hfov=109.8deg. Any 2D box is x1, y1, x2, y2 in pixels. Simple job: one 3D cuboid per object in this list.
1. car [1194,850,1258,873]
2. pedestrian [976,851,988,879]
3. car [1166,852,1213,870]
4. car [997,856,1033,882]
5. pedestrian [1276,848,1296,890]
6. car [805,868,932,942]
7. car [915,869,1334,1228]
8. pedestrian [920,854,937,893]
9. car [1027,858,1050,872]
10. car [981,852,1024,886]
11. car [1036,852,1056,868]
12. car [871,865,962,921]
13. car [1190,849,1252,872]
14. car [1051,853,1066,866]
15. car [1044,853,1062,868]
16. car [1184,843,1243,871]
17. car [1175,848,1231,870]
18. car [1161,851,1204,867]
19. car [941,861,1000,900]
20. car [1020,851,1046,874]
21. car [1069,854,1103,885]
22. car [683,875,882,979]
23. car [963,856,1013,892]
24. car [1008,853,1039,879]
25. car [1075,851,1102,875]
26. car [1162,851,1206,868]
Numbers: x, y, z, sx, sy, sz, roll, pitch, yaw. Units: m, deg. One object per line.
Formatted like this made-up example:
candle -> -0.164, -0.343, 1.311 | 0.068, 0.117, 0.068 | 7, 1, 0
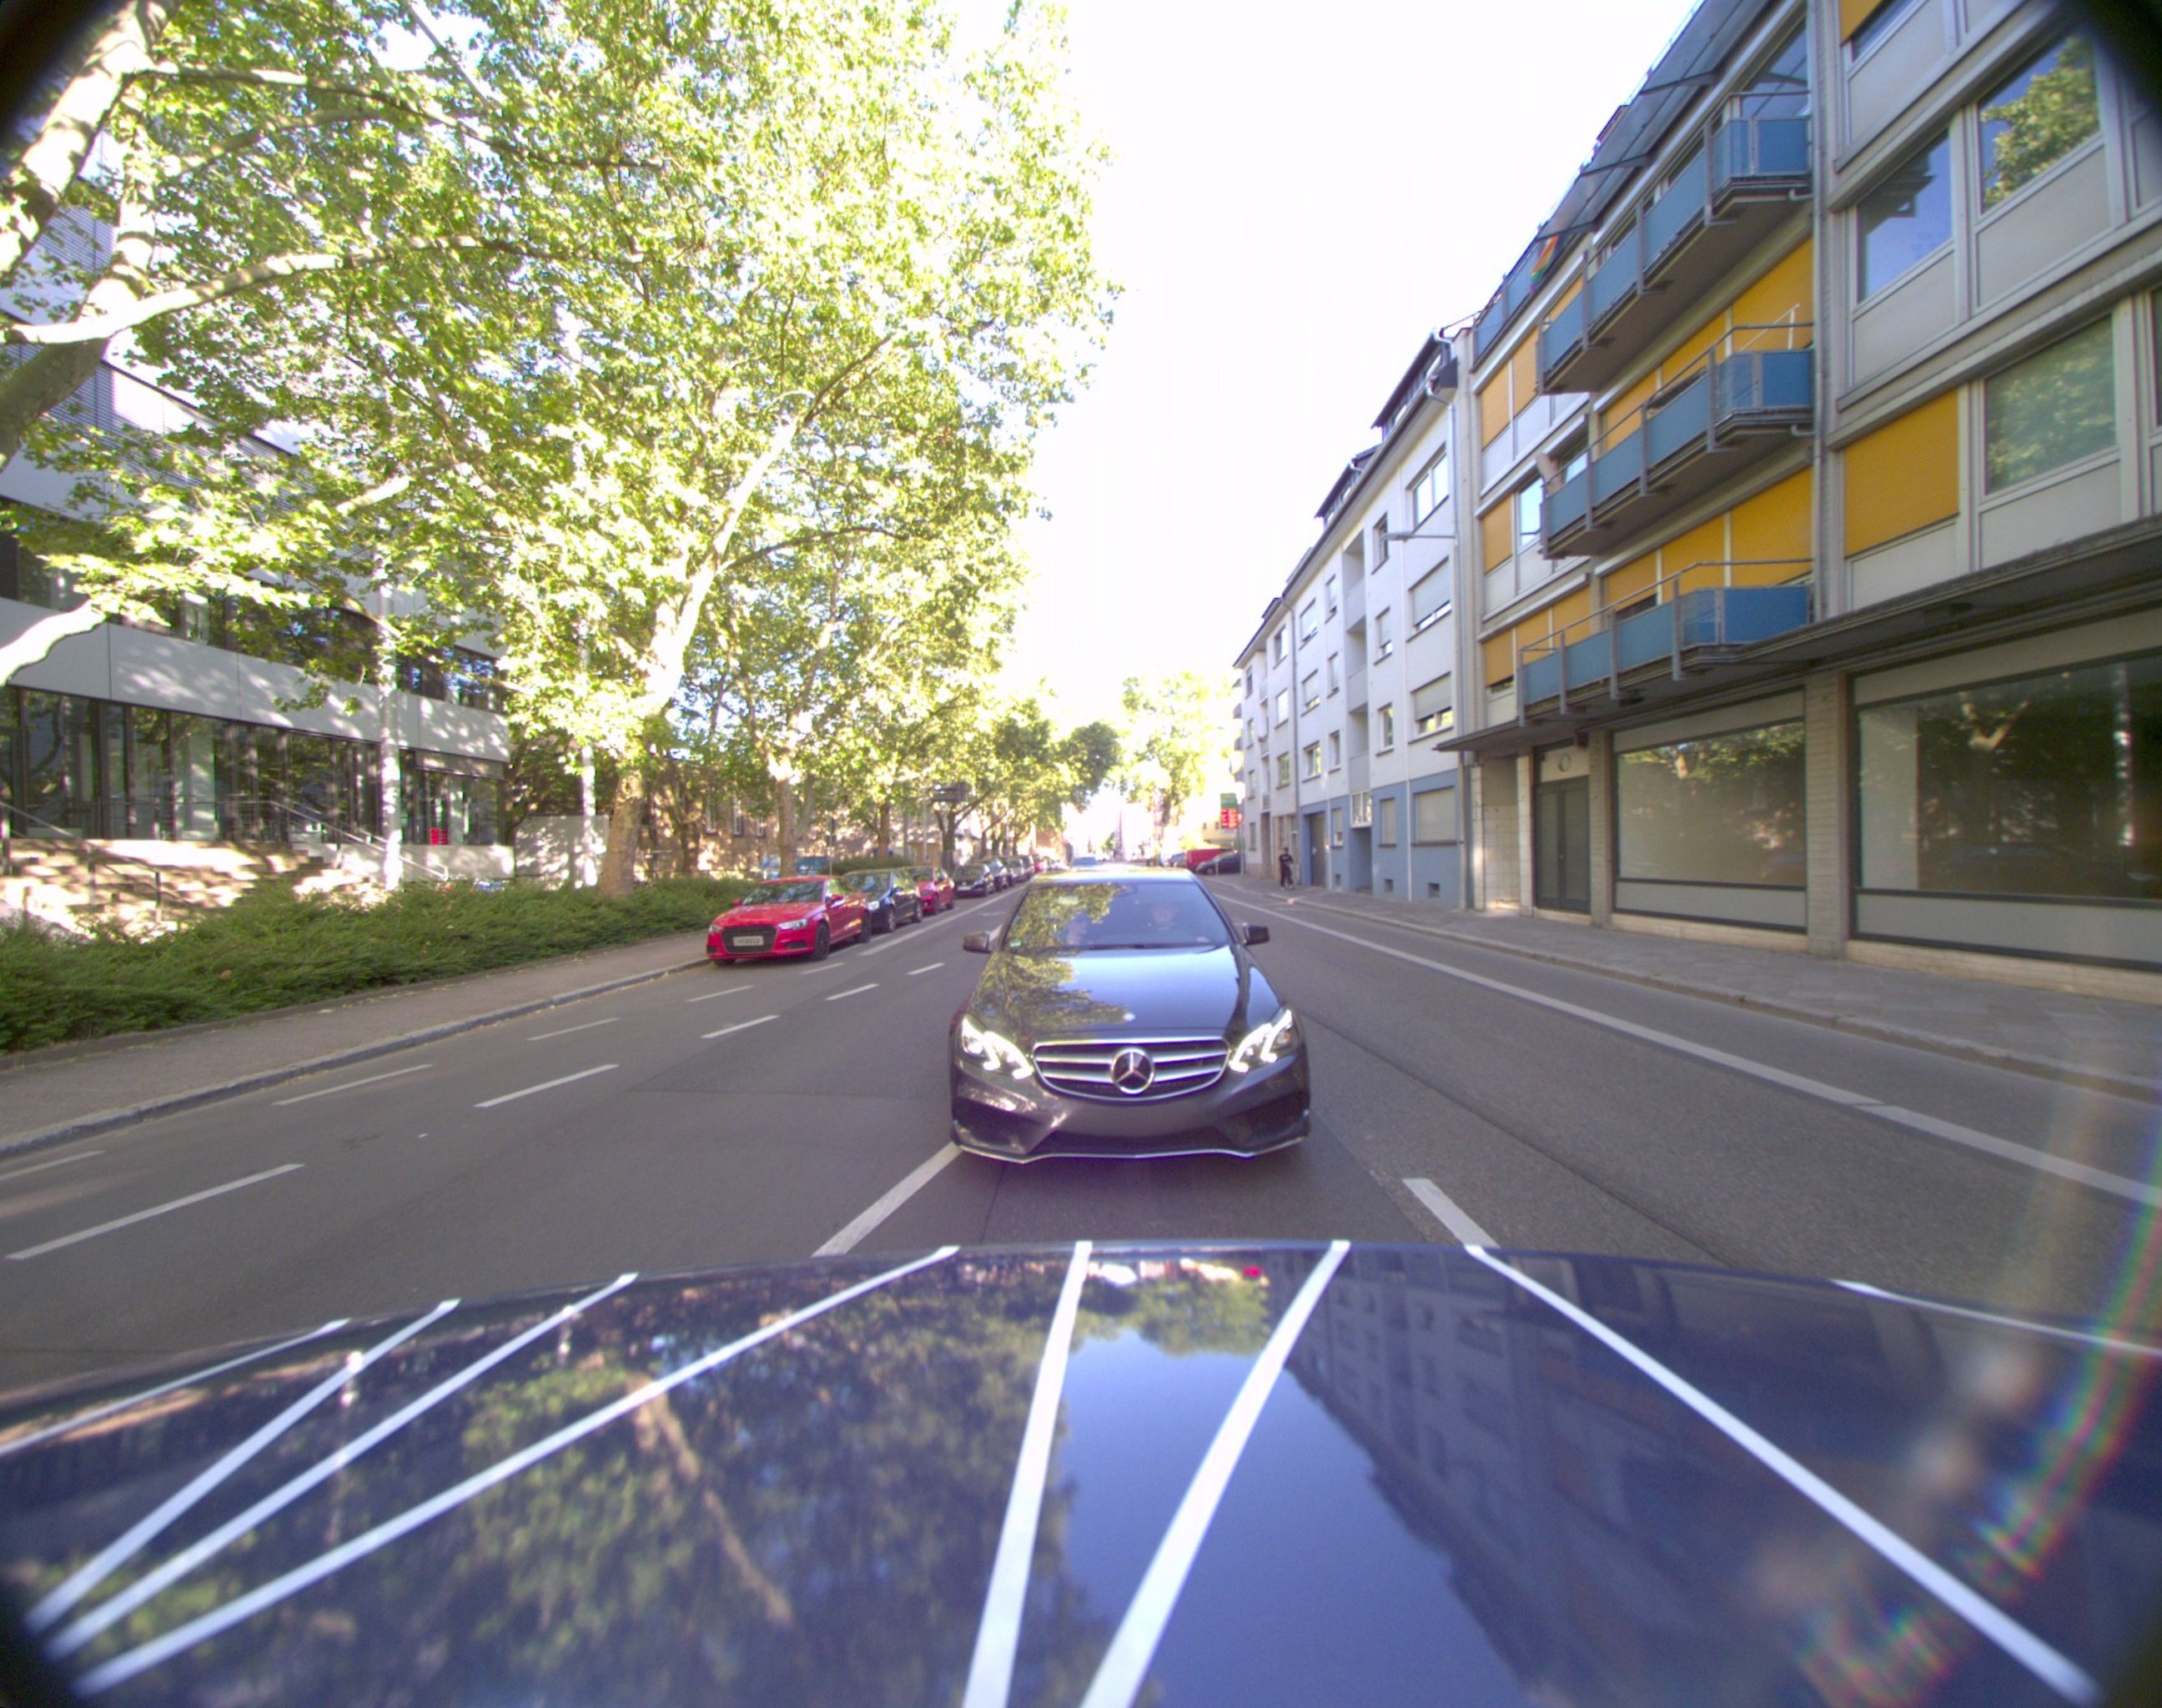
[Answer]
car -> 10.404, 0.528, 54.748 | 4.255, 1.392, 1.653 | -4, 0, 1
pedestrian -> -6.653, 0.762, 50.968 | 0.660, 1.849, 0.641 | -2, 1, 1
car -> 10.437, 0.685, 73.192 | 4.255, 1.461, 1.653 | -4, 0, 1
car -> -4.334, 0.955, 50.608 | 1.835, 1.604, 4.259 | -2, 0, 1
pedestrian -> 8.327, 0.588, 30.925 | 0.612, 1.685, 0.655 | -2, 1, 1
car -> -5.038, 1.155, 18.631 | 1.835, 1.438, 4.168 | -2, 0, 1
car -> 0.227, 0.921, 5.572 | 1.849, 1.490, 4.302 | -1, 0, 1
pedestrian -> -7.053, 0.892, 35.080 | 0.601, 1.785, 0.593 | -2, 1, 0
car -> -3.986, 1.036, 71.788 | 1.835, 1.220, 4.259 | -2, 0, 1
car -> -4.506, 0.830, 44.115 | 1.835, 1.787, 4.463 | -2, 0, 1
car -> -3.934, 0.679, 86.227 | 1.835, 1.667, 4.259 | -2, 0, 1
car -> -5.040, 1.140, 23.841 | 1.835, 1.459, 4.168 | -2, 0, 1
car -> 10.488, 0.465, 57.049 | 4.255, 1.461, 1.653 | -4, 0, 1
car -> -3.041, 0.698, 102.950 | 1.835, 1.667, 4.259 | -2, 0, 1
car -> -3.406, 0.798, 92.843 | 1.835, 1.667, 4.259 | -2, 0, 1
car -> 10.419, 0.232, 60.130 | 4.255, 1.907, 1.818 | -4, 0, 0
car -> 10.056, 0.418, 62.711 | 4.255, 1.461, 1.653 | -4, 0, 1
car -> 10.779, 0.526, 80.615 | 4.255, 1.461, 1.653 | -4, 0, 1
car -> -4.742, 1.110, 33.177 | 1.835, 1.459, 4.168 | -2, 0, 1
car -> -4.141, 0.691, 66.348 | 1.835, 1.839, 4.259 | -2, 0, 1
car -> 0.284, 0.795, 40.972 | 1.726, 1.530, 4.000 | -1, 0, 1
car -> -5.128, 1.182, 13.770 | 1.835, 1.396, 4.247 | -2, 0, 1
car -> -4.593, 0.971, 38.075 | 1.835, 1.596, 4.161 | -2, 0, 1
car -> -4.175, 0.821, 55.640 | 1.835, 1.750, 4.259 | -2, 0, 1
car -> 0.600, 0.658, 57.623 | 1.908, 1.678, 4.813 | -2, 0, 1
car -> 10.608, 0.552, 78.651 | 4.255, 1.461, 1.653 | -4, 0, 1
